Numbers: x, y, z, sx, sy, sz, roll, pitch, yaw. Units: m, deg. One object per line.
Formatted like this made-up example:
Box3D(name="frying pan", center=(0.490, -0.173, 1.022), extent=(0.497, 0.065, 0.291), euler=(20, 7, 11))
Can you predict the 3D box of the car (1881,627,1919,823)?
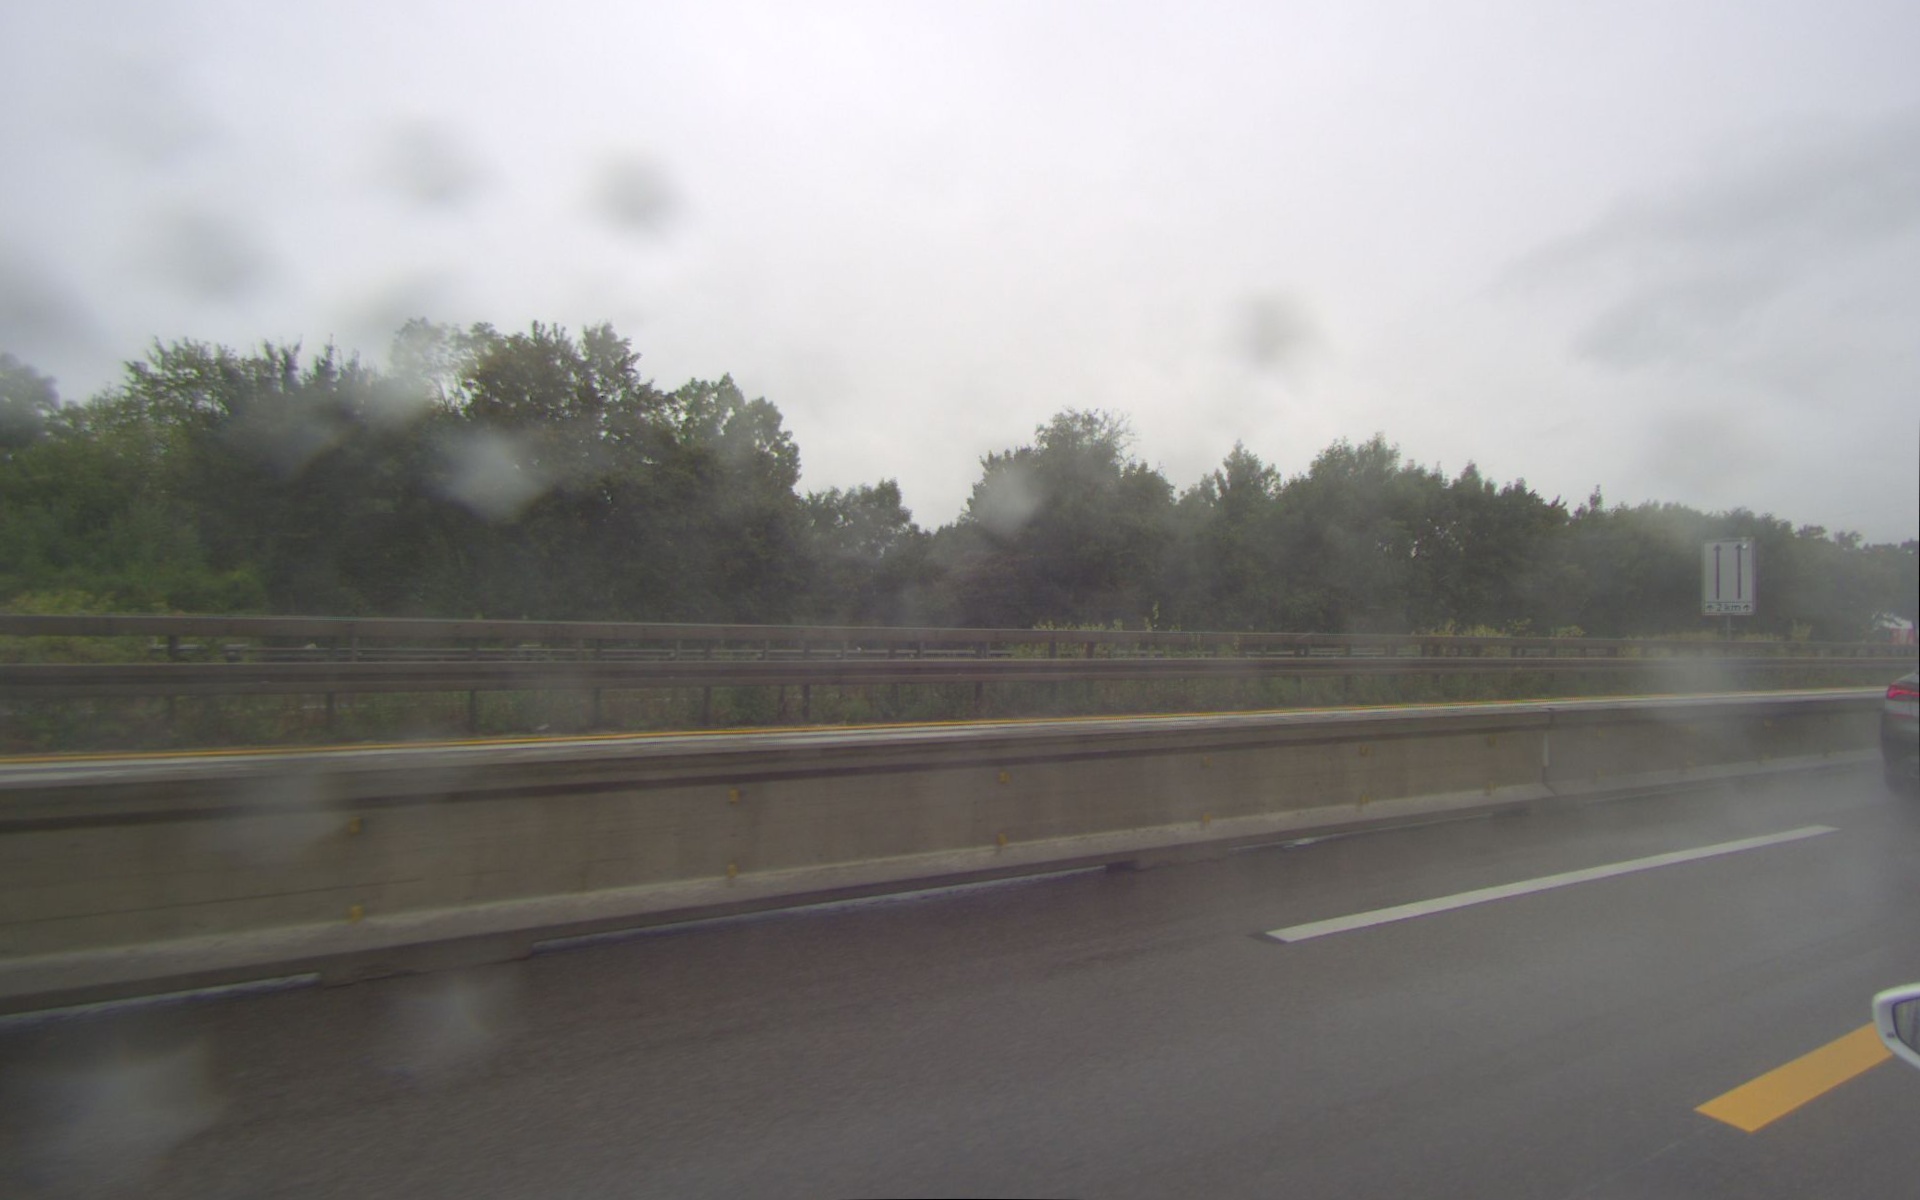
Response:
Box3D(name="car", center=(10.318, 1.161, 9.101), extent=(4.792, 1.619, 1.691), euler=(3, -1, -32))
